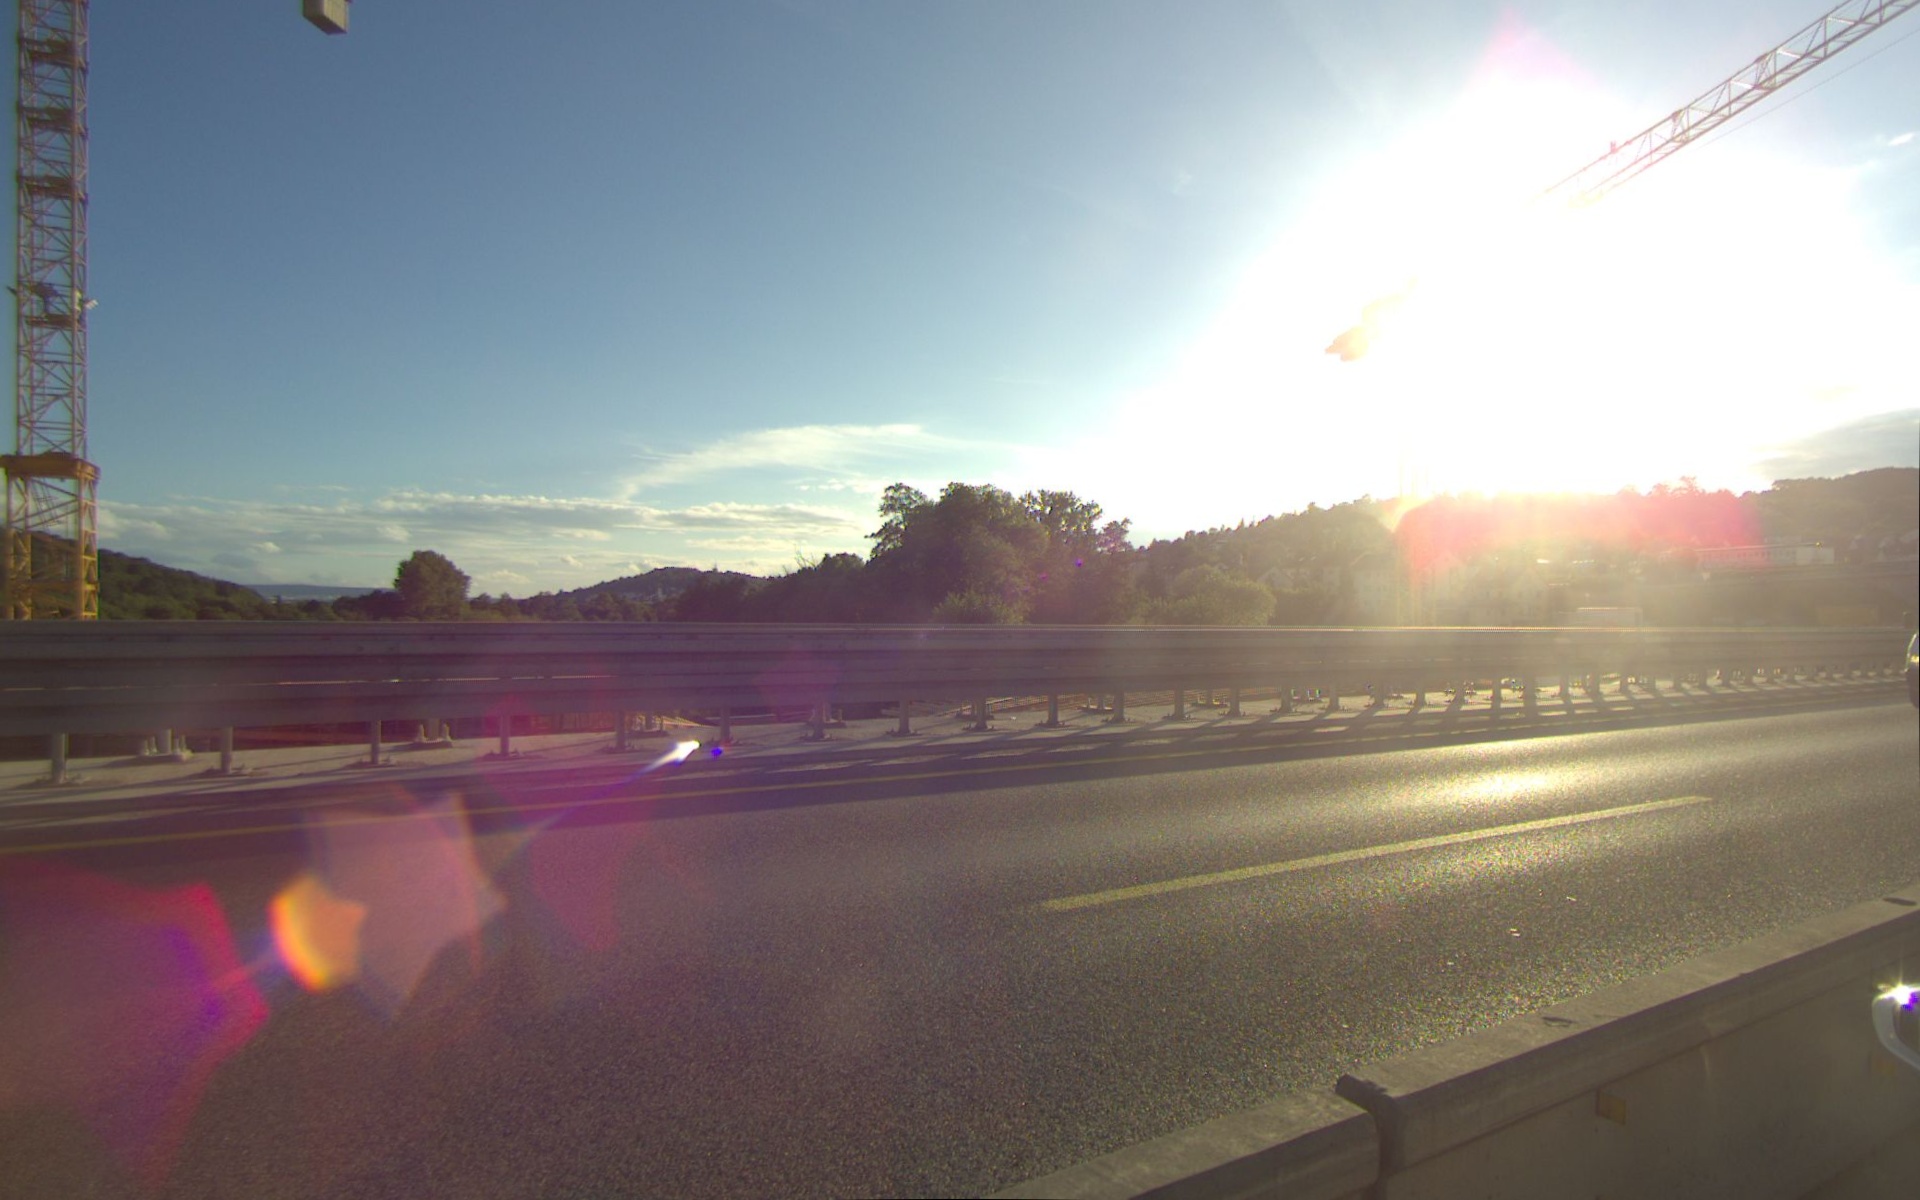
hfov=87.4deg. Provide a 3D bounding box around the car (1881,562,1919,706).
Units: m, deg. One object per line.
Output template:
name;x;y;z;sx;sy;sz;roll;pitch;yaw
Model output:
car;18.527;0.596;17.550;5.865;2.354;1.983;1;0;-31
